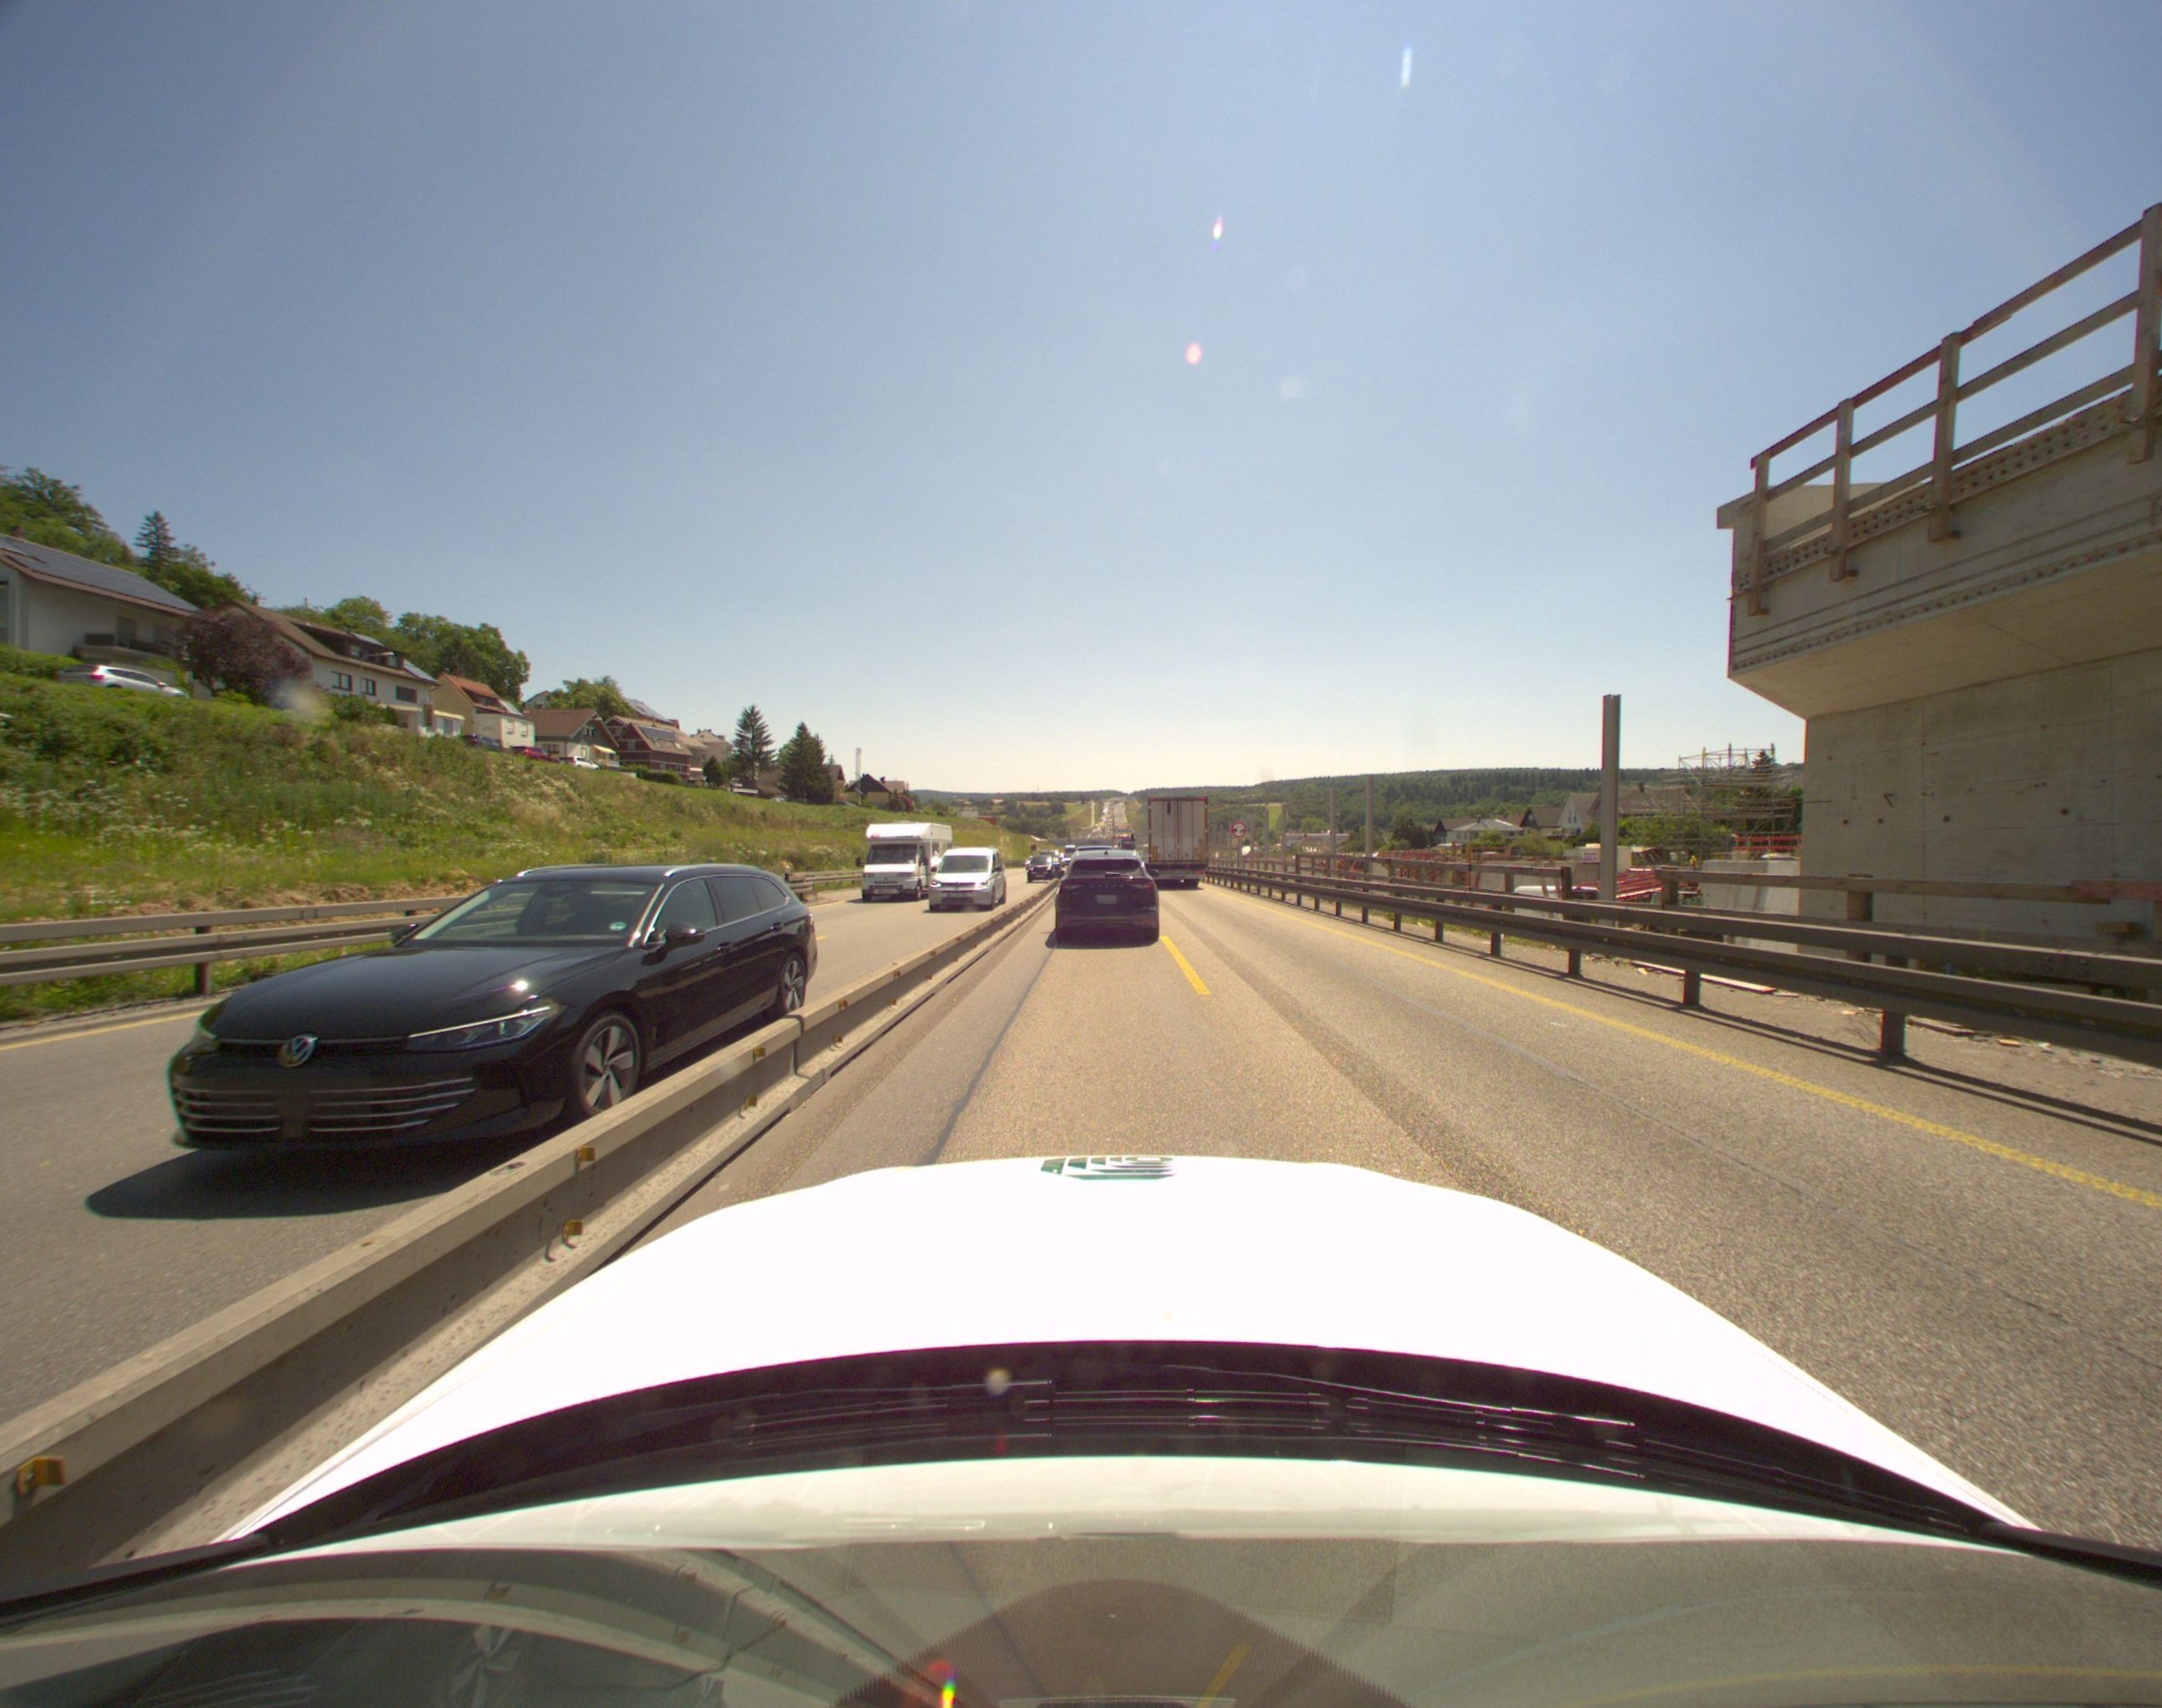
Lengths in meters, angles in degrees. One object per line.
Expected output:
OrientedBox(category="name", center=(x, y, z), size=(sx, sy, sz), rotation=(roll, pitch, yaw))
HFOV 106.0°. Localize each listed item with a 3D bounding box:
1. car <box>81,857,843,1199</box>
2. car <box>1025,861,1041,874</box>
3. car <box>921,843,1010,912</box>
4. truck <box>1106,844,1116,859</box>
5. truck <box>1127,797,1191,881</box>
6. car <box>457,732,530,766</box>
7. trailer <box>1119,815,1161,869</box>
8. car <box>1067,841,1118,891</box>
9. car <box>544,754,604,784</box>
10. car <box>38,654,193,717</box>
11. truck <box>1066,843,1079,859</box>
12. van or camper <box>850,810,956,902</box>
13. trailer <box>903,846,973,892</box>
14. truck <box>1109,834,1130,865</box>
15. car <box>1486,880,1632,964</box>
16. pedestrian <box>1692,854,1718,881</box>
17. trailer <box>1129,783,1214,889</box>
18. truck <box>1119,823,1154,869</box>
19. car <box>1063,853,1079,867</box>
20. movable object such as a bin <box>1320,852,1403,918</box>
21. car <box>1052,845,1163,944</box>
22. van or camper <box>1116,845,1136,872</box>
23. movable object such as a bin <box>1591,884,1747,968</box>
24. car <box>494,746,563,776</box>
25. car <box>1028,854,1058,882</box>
OrientedBox(category="car", center=(-3.454, 0.781, 6.020), size=(1.836, 1.475, 4.836), rotation=(-1, 0, 1))
OrientedBox(category="car", center=(-5.113, 1.442, 87.330), size=(1.554, 1.402, 3.464), rotation=(-1, -1, -1))
OrientedBox(category="car", center=(-3.328, 0.625, 24.425), size=(1.831, 1.828, 5.041), rotation=(-1, 0, 1))
OrientedBox(category="truck", center=(8.268, -0.652, 228.084), size=(2.630, 4.194, 9.286), rotation=(-1, -1, 2))
OrientedBox(category="truck", center=(4.451, -0.845, 48.177), size=(3.169, 4.513, 8.168), rotation=(-1, 0, 1))
OrientedBox(category="car", center=(-42.538, -7.580, 59.135), size=(2.175, 1.794, 4.754), rotation=(-1, -1, -5))
OrientedBox(category="trailer", center=(5.416, -0.889, 77.383), size=(3.169, 4.513, 14.969), rotation=(-1, -1, 1))
OrientedBox(category="car", center=(0.499, 0.529, 33.969), size=(1.986, 1.926, 4.508), rotation=(-1, -1, 1))
OrientedBox(category="car", center=(-44.456, -7.456, 71.603), size=(2.341, 2.041, 4.814), rotation=(-1, -1, -2))
OrientedBox(category="car", center=(-41.244, -7.167, 34.960), size=(1.990, 1.794, 3.992), rotation=(-1, -1, -5))
OrientedBox(category="truck", center=(-1.999, -0.772, 192.747), size=(2.769, 3.672, 6.278), rotation=(-1, 0, 1))
OrientedBox(category="van or camper", center=(-6.480, 0.066, 30.674), size=(2.283, 3.066, 6.926), rotation=(-1, 0, 1))
OrientedBox(category="trailer", center=(-6.305, 0.645, 36.613), size=(2.094, 1.894, 5.142), rotation=(-1, 0, 1))
OrientedBox(category="truck", center=(5.956, -0.581, 127.433), size=(2.842, 4.465, 11.918), rotation=(-1, -1, 1))
OrientedBox(category="car", center=(18.614, 2.510, 32.253), size=(2.134, 2.856, 7.032), rotation=(-1, -1, 5))
OrientedBox(category="pedestrian", center=(46.732, 1.047, 60.993), size=(1.132, 1.987, 0.974), rotation=(-1, -1, 5))
OrientedBox(category="trailer", center=(4.296, -0.818, 41.675), size=(3.169, 4.513, 13.112), rotation=(-1, 0, 1))
OrientedBox(category="truck", center=(5.654, -0.683, 84.556), size=(3.169, 4.513, 8.167), rotation=(-1, -1, 1))
OrientedBox(category="car", center=(-1.218, 0.749, 98.599), size=(1.800, 1.640, 4.172), rotation=(-1, 0, 1))
OrientedBox(category="movable object such as a bin", center=(21.645, 2.334, 63.537), size=(3.216, 4.743, 9.656), rotation=(-1, -1, 1))
OrientedBox(category="car", center=(0.516, 0.688, 15.364), size=(1.795, 1.607, 4.002), rotation=(-1, -1, 2))
OrientedBox(category="van or camper", center=(5.635, 0.593, 102.403), size=(2.378, 3.281, 6.474), rotation=(-1, -1, 3))
OrientedBox(category="movable object such as a bin", center=(21.317, 2.512, 29.912), size=(2.134, 2.676, 5.508), rotation=(-1, -1, 6))
OrientedBox(category="car", center=(-44.185, -7.427, 65.312), size=(2.341, 1.794, 4.797), rotation=(-1, -1, -2))
OrientedBox(category="car", center=(-2.146, 0.784, 46.781), size=(1.478, 1.505, 2.806), rotation=(-1, 0, 1))
